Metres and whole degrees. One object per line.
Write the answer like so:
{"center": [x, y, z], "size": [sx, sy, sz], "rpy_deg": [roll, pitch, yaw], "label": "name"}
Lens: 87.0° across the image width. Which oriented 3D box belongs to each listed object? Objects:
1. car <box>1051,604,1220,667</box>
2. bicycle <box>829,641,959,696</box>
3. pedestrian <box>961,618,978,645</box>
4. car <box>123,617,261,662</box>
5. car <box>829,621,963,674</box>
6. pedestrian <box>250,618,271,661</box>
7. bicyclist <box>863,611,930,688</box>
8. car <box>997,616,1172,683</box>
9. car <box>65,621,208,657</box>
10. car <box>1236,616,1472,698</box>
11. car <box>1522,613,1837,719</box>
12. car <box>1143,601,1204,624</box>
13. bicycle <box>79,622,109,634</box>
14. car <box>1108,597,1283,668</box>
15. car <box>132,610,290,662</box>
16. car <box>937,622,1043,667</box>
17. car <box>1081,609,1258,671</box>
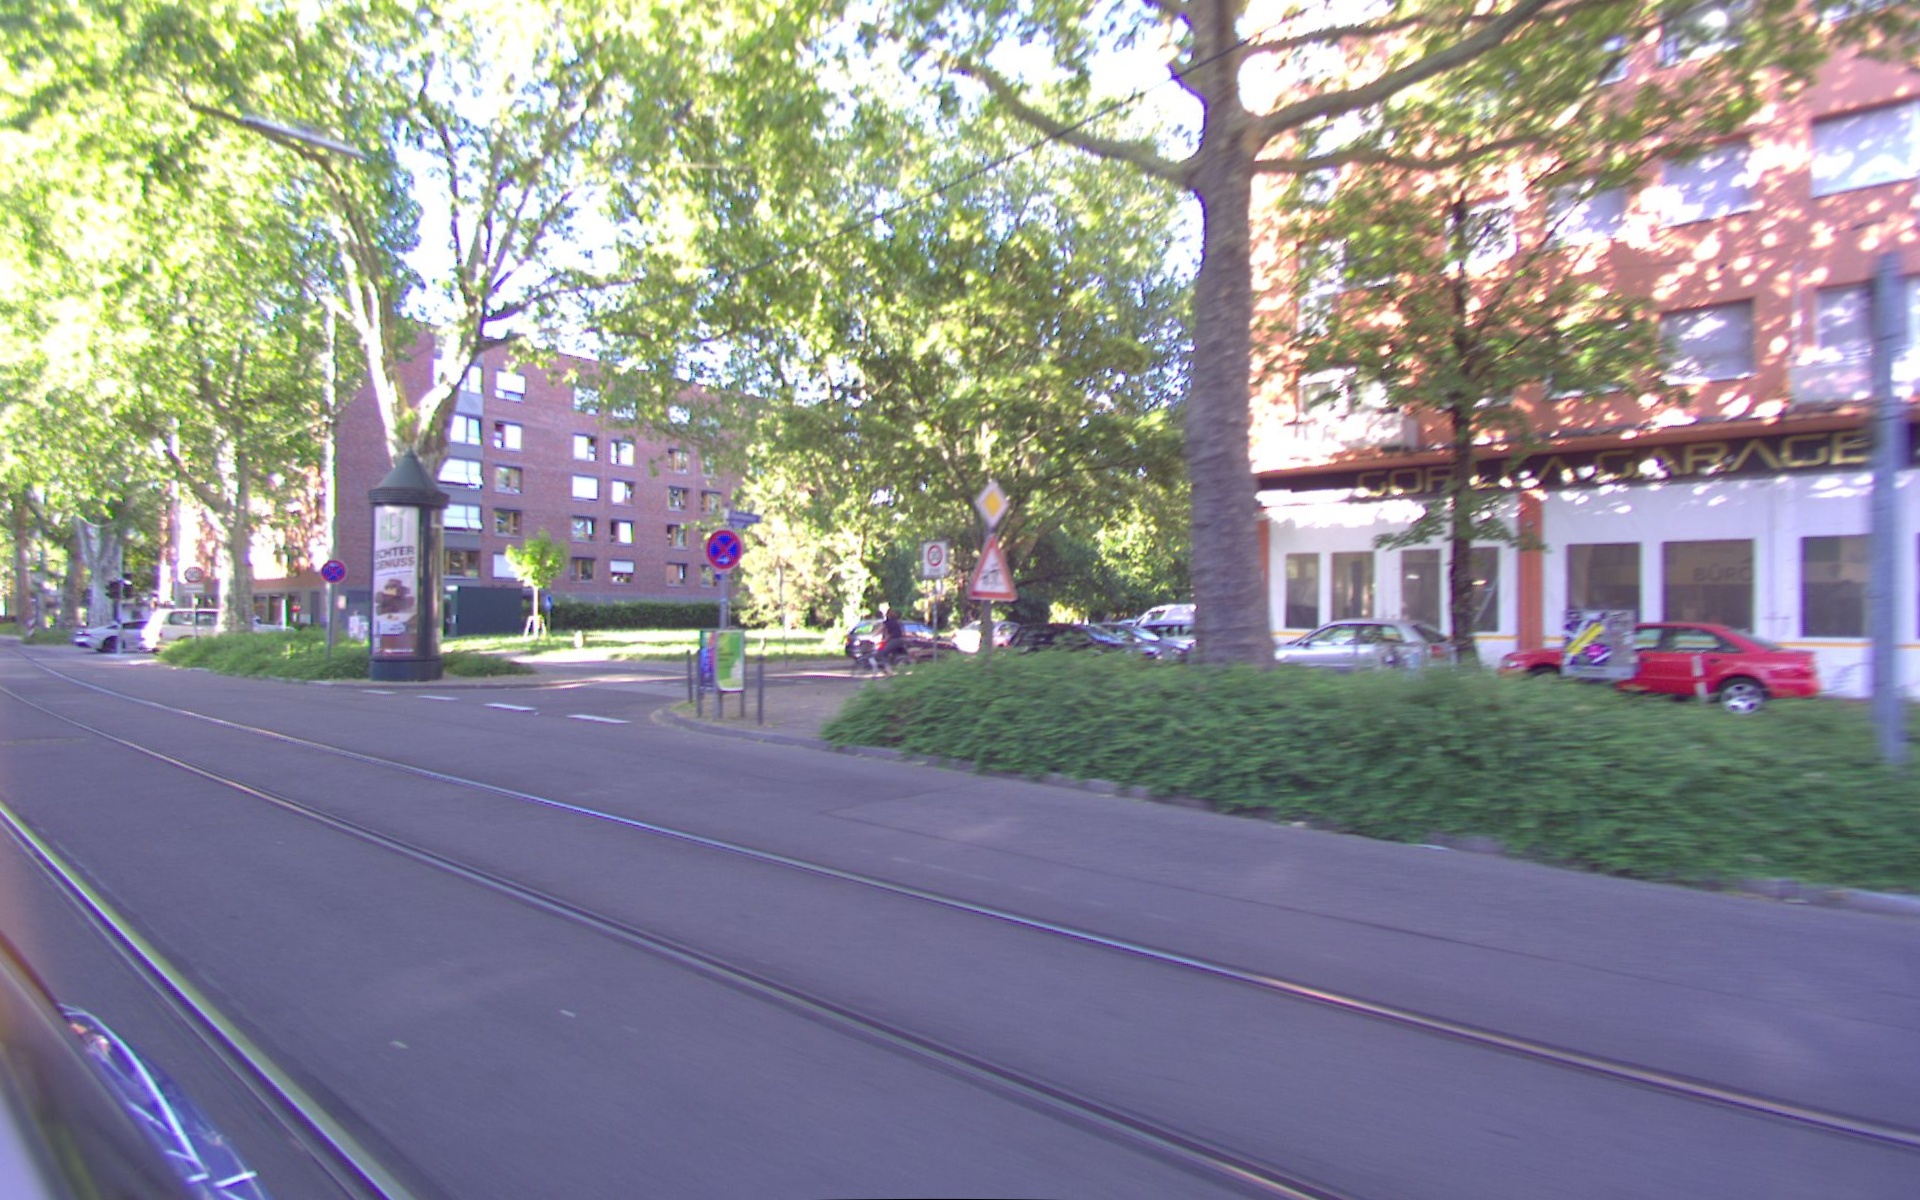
{"center": [4.629, 0.894, 26.868], "size": [3.992, 1.537, 1.976], "rpy_deg": [0, -1, 36], "label": "car"}
{"center": [-1.359, 1.360, 20.569], "size": [2.574, 1.006, 0.961], "rpy_deg": [0, -1, 31], "label": "bicycle"}
{"center": [0.601, 1.945, 63.175], "size": [0.766, 1.686, 0.714], "rpy_deg": [0, -1, -33], "label": "pedestrian"}
{"center": [-30.766, 1.537, 40.650], "size": [1.900, 1.659, 4.098], "rpy_deg": [-1, -1, 39], "label": "car"}
{"center": [-1.930, 1.434, 31.899], "size": [1.856, 1.500, 4.488], "rpy_deg": [-1, -1, 35], "label": "car"}
{"center": [-30.149, 1.682, 43.622], "size": [0.636, 1.823, 0.752], "rpy_deg": [1, -1, -44], "label": "pedestrian"}
{"center": [-1.282, 0.976, 20.527], "size": [1.113, 1.518, 0.794], "rpy_deg": [0, -1, 31], "label": "bicyclist"}
{"center": [3.083, 1.174, 25.221], "size": [3.985, 1.504, 1.799], "rpy_deg": [0, -1, 31], "label": "car"}
{"center": [-37.018, 1.705, 45.602], "size": [1.953, 1.471, 4.717], "rpy_deg": [-1, -1, 39], "label": "car"}
{"center": [7.648, 1.029, 19.795], "size": [3.891, 1.418, 1.927], "rpy_deg": [-1, -1, 42], "label": "car"}
{"center": [11.576, 0.960, 16.425], "size": [3.998, 1.498, 1.927], "rpy_deg": [-1, -1, 42], "label": "car"}
{"center": [15.892, 0.913, 75.352], "size": [1.869, 1.630, 4.108], "rpy_deg": [0, -1, -44], "label": "car"}
{"center": [-83.271, 2.688, 97.354], "size": [2.067, 1.198, 0.883], "rpy_deg": [0, -1, -33], "label": "bicycle"}
{"center": [7.189, 0.954, 31.194], "size": [4.916, 2.019, 1.973], "rpy_deg": [-1, -1, 40], "label": "car"}
{"center": [-28.552, 1.313, 38.705], "size": [1.937, 1.848, 4.525], "rpy_deg": [-1, -1, 39], "label": "car"}
{"center": [1.151, 1.567, 36.626], "size": [1.818, 1.461, 4.433], "rpy_deg": [0, -1, 33], "label": "car"}
{"center": [5.936, 1.083, 28.905], "size": [4.548, 1.630, 1.976], "rpy_deg": [0, -1, 36], "label": "car"}
